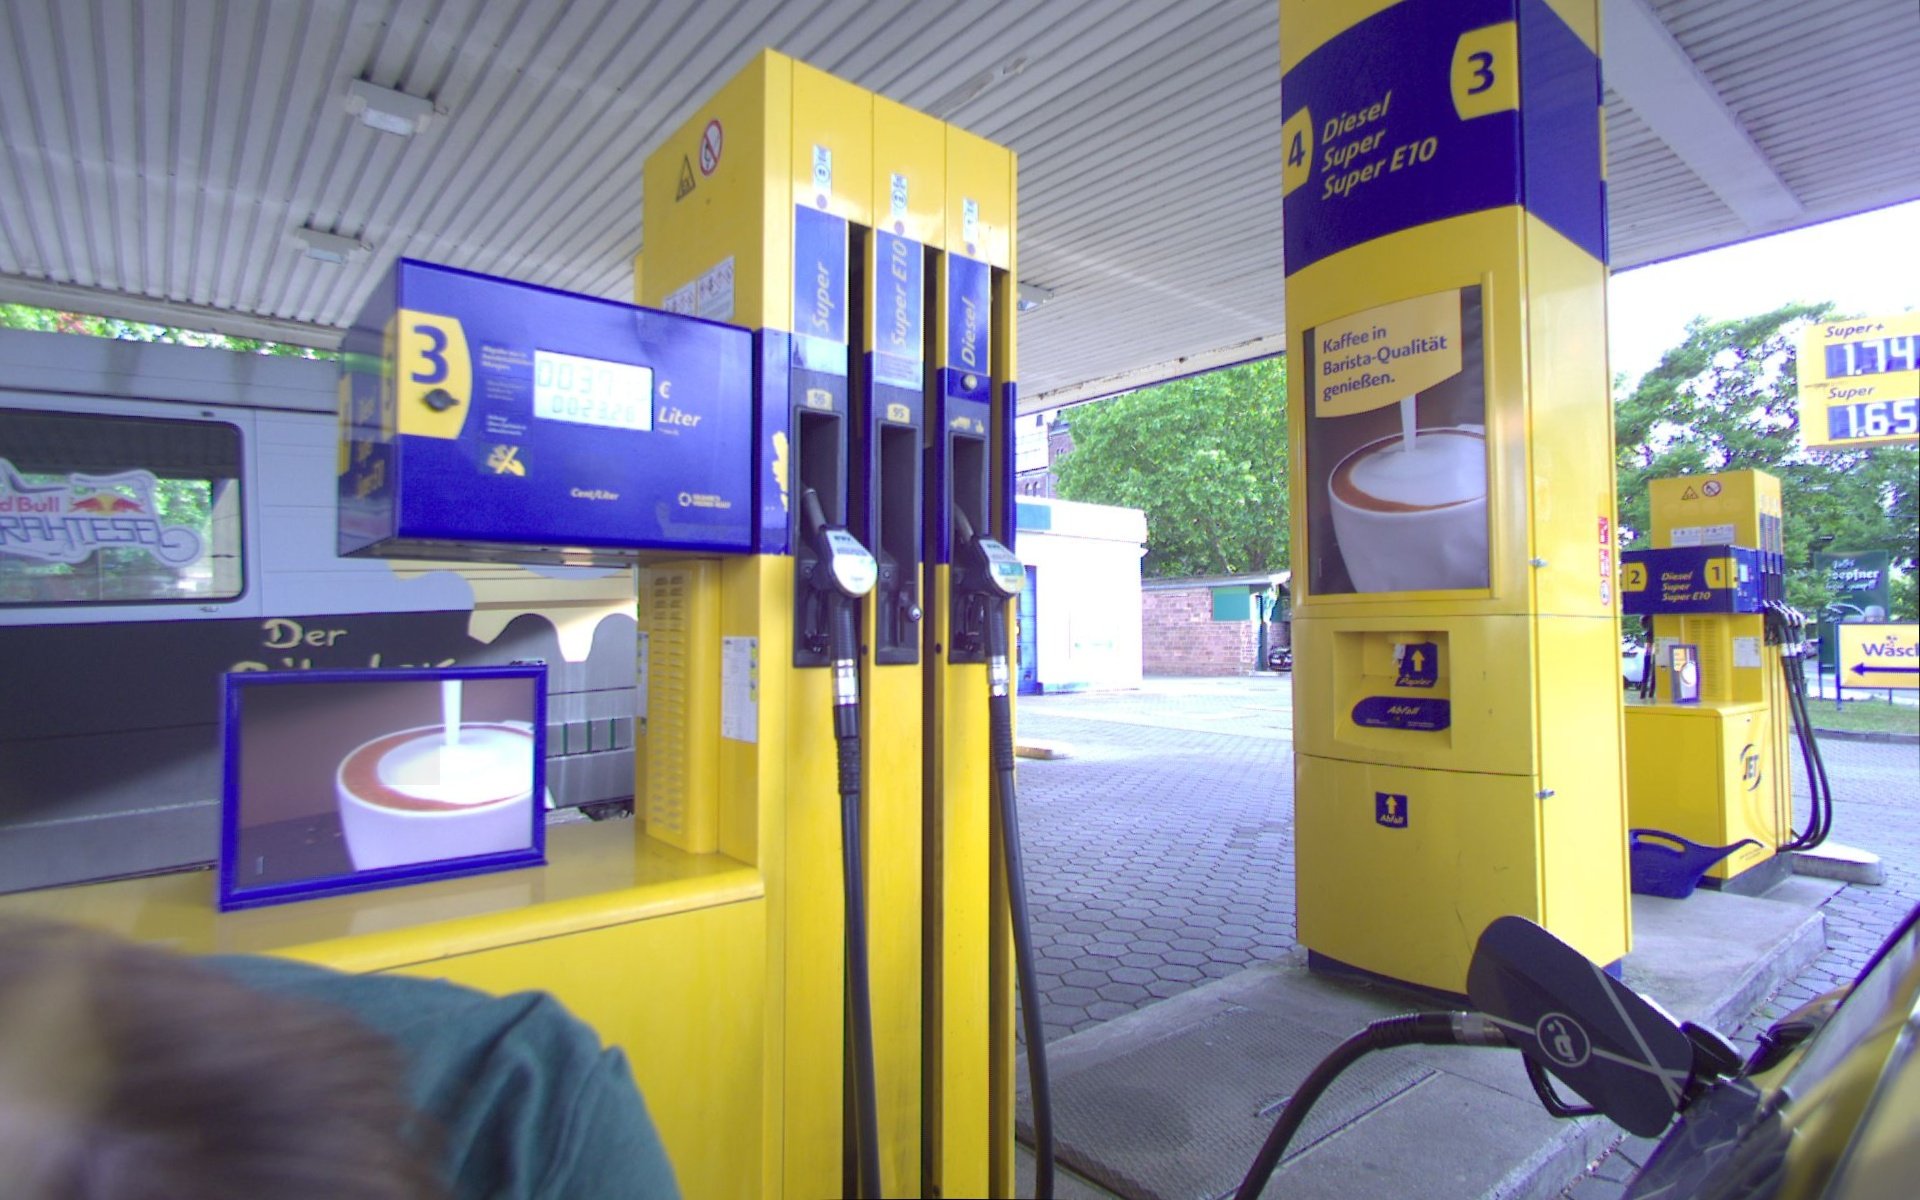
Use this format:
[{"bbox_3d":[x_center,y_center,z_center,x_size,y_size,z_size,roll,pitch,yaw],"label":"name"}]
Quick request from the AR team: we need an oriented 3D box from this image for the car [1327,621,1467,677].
[{"bbox_3d":[13.889,1.540,32.139,4.303,1.622,1.777,2,-1,-28],"label":"car"}]

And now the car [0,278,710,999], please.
[{"bbox_3d":[-4.108,0.164,4.897,5.197,2.726,2.258,1,-2,-39],"label":"car"}]

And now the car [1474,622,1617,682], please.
[{"bbox_3d":[17.849,1.598,30.803,4.303,1.622,1.776,4,-4,-28],"label":"car"}]

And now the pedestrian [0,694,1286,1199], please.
[{"bbox_3d":[-0.333,0.752,0.549,0.662,1.298,0.751,0,0,-41],"label":"pedestrian"}]

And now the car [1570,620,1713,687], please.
[{"bbox_3d":[18.358,1.455,27.205,4.308,1.622,1.774,4,-4,-35],"label":"car"}]

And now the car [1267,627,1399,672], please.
[{"bbox_3d":[12.693,1.663,34.430,4.303,1.393,1.777,2,-1,-28],"label":"car"}]
